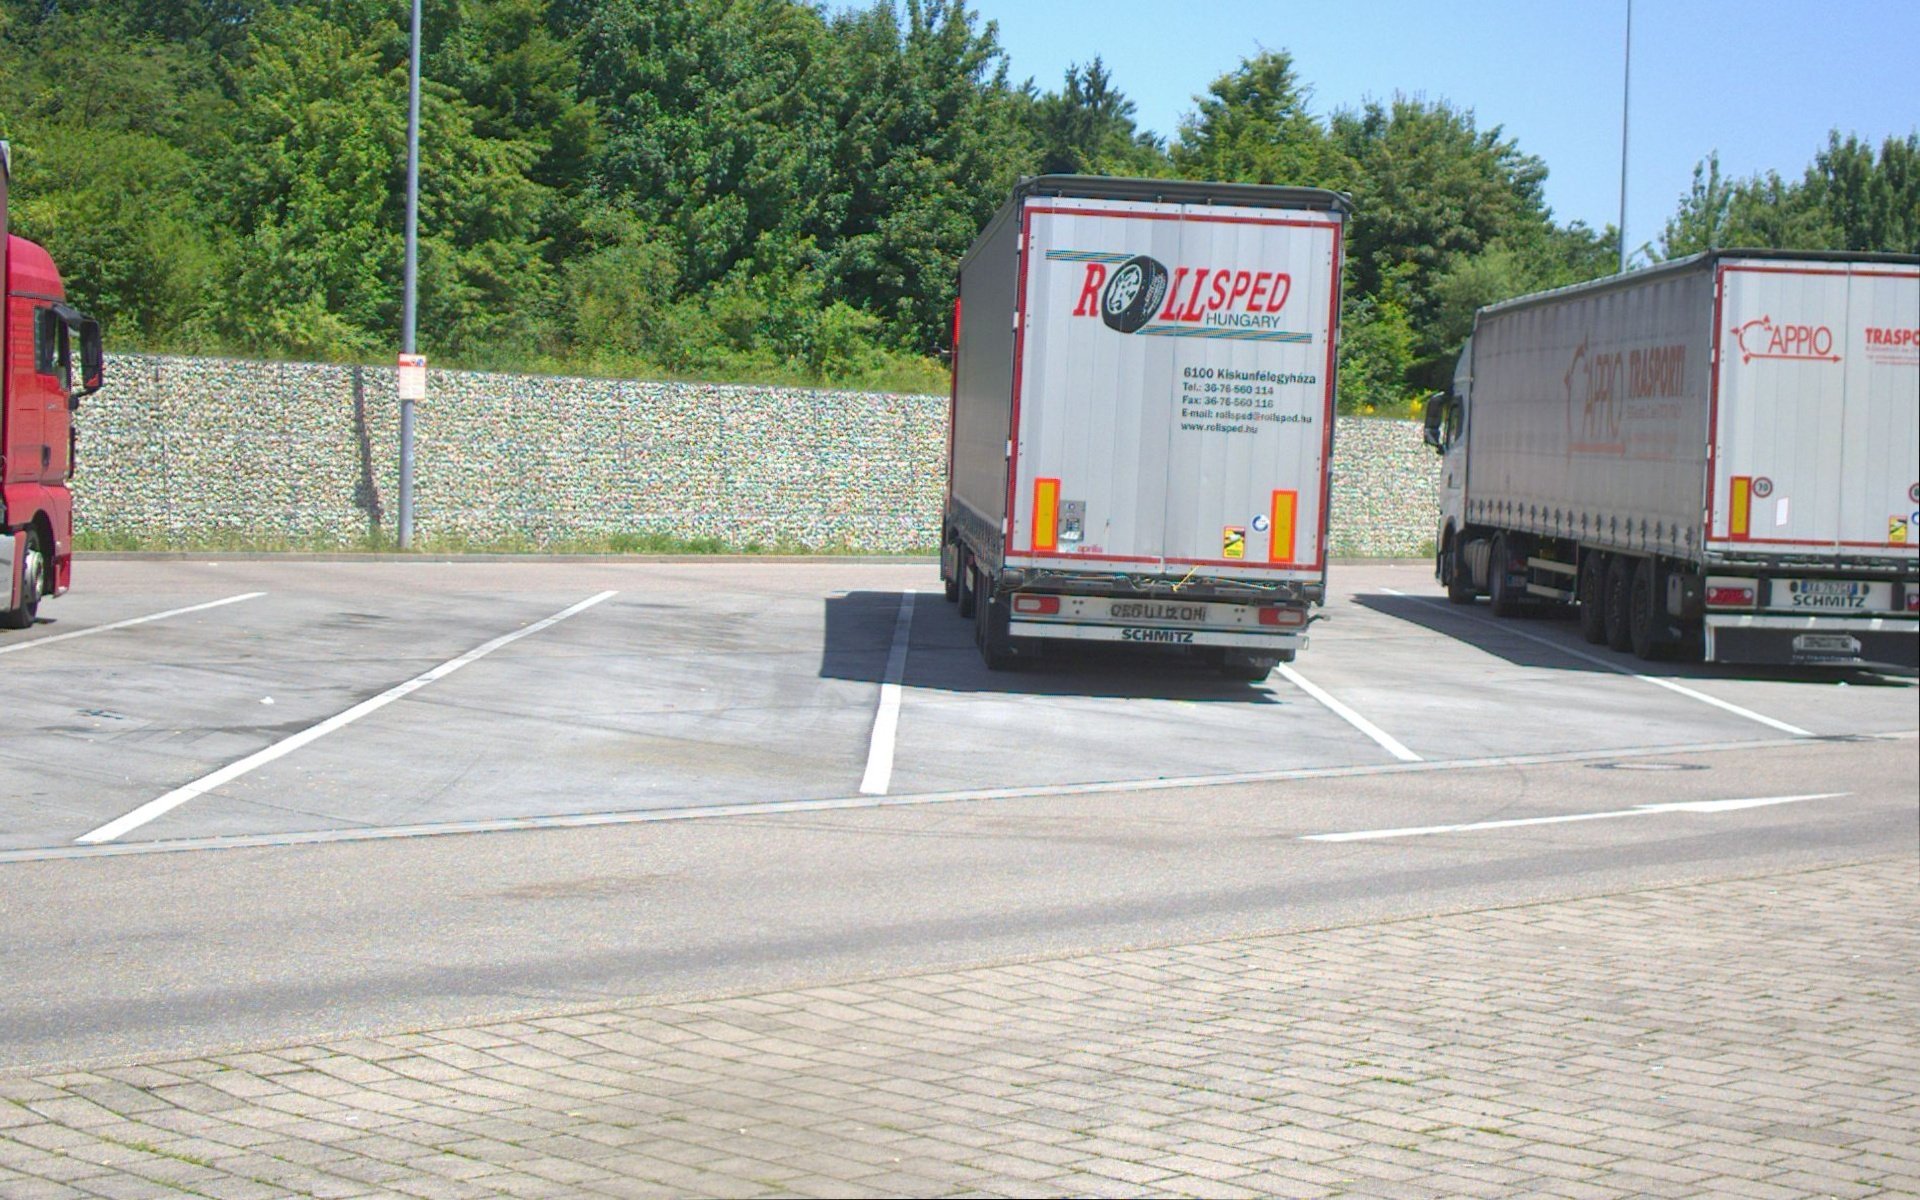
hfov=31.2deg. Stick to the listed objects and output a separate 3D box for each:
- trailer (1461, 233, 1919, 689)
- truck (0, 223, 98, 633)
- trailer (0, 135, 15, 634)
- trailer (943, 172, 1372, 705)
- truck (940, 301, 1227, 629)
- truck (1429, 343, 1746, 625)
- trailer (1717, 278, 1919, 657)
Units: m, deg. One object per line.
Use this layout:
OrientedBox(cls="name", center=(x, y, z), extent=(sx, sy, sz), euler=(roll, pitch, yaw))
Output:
OrientedBox(cls="trailer", center=(8.199, -1.586, 38.364), extent=(2.858, 4.095, 13.765), euler=(2, 3, -1))
OrientedBox(cls="truck", center=(-9.241, -1.453, 28.189), extent=(2.812, 3.351, 5.975), euler=(2, 3, -1))
OrientedBox(cls="trailer", center=(-9.154, -1.463, 21.369), extent=(2.821, 4.057, 13.765), euler=(2, 3, -1))
OrientedBox(cls="trailer", center=(1.469, -1.565, 33.110), extent=(2.858, 3.958, 13.765), euler=(2, 3, -1))
OrientedBox(cls="truck", center=(1.286, -1.570, 39.312), extent=(2.865, 3.351, 5.975), euler=(2, 3, -1))
OrientedBox(cls="truck", center=(8.097, -1.566, 45.130), extent=(2.865, 3.351, 5.975), euler=(2, 3, -1))
OrientedBox(cls="trailer", center=(11.796, -1.502, 39.376), extent=(2.858, 4.095, 13.765), euler=(2, 3, -1))
